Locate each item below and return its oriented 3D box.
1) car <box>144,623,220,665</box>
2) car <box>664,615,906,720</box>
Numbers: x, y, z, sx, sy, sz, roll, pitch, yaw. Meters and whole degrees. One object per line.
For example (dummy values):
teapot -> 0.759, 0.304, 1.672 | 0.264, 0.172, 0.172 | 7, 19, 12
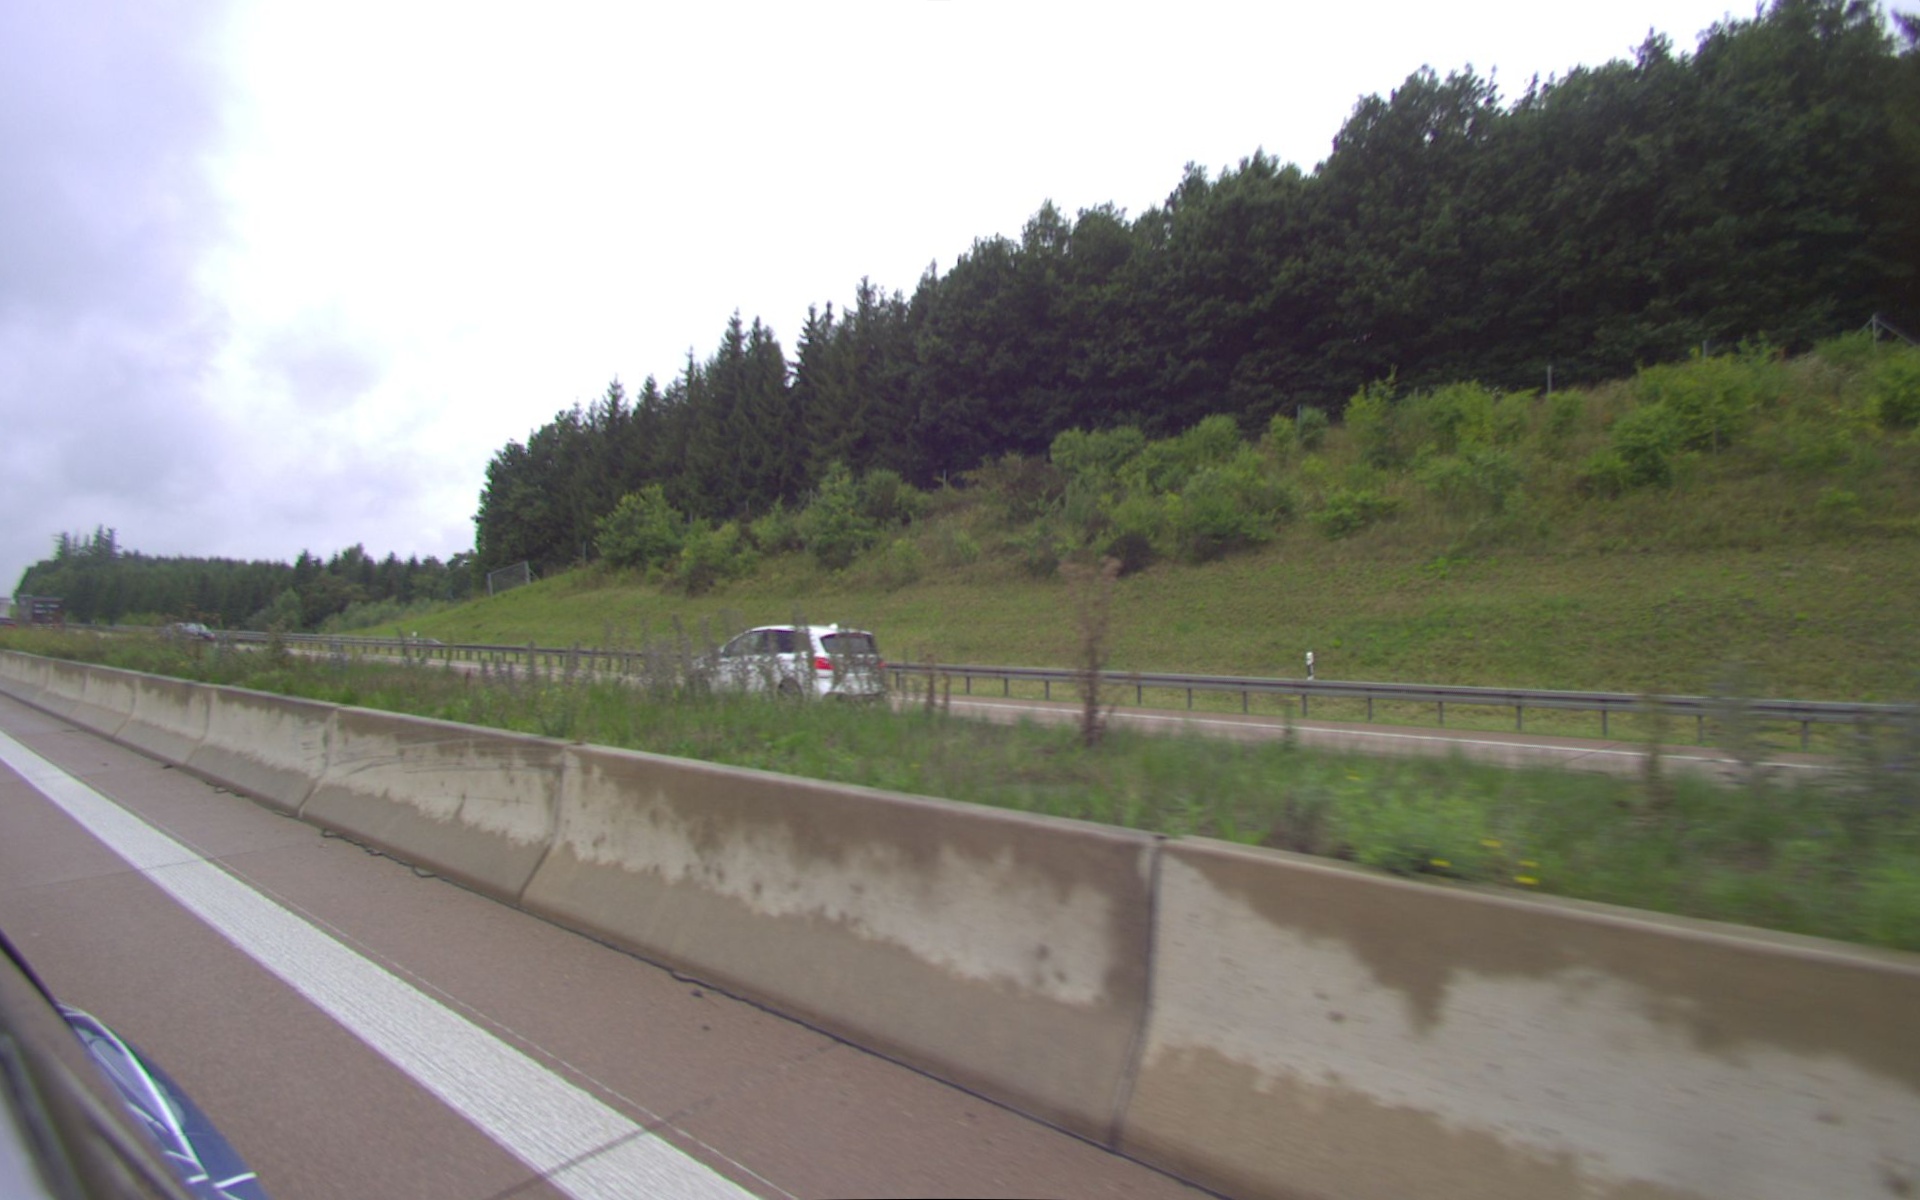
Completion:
car -> -35.768, 1.982, 46.491 | 4.257, 1.733, 1.973 | -1, 0, 41
car -> -3.419, 1.181, 19.109 | 4.949, 1.736, 1.795 | -1, -3, 42
